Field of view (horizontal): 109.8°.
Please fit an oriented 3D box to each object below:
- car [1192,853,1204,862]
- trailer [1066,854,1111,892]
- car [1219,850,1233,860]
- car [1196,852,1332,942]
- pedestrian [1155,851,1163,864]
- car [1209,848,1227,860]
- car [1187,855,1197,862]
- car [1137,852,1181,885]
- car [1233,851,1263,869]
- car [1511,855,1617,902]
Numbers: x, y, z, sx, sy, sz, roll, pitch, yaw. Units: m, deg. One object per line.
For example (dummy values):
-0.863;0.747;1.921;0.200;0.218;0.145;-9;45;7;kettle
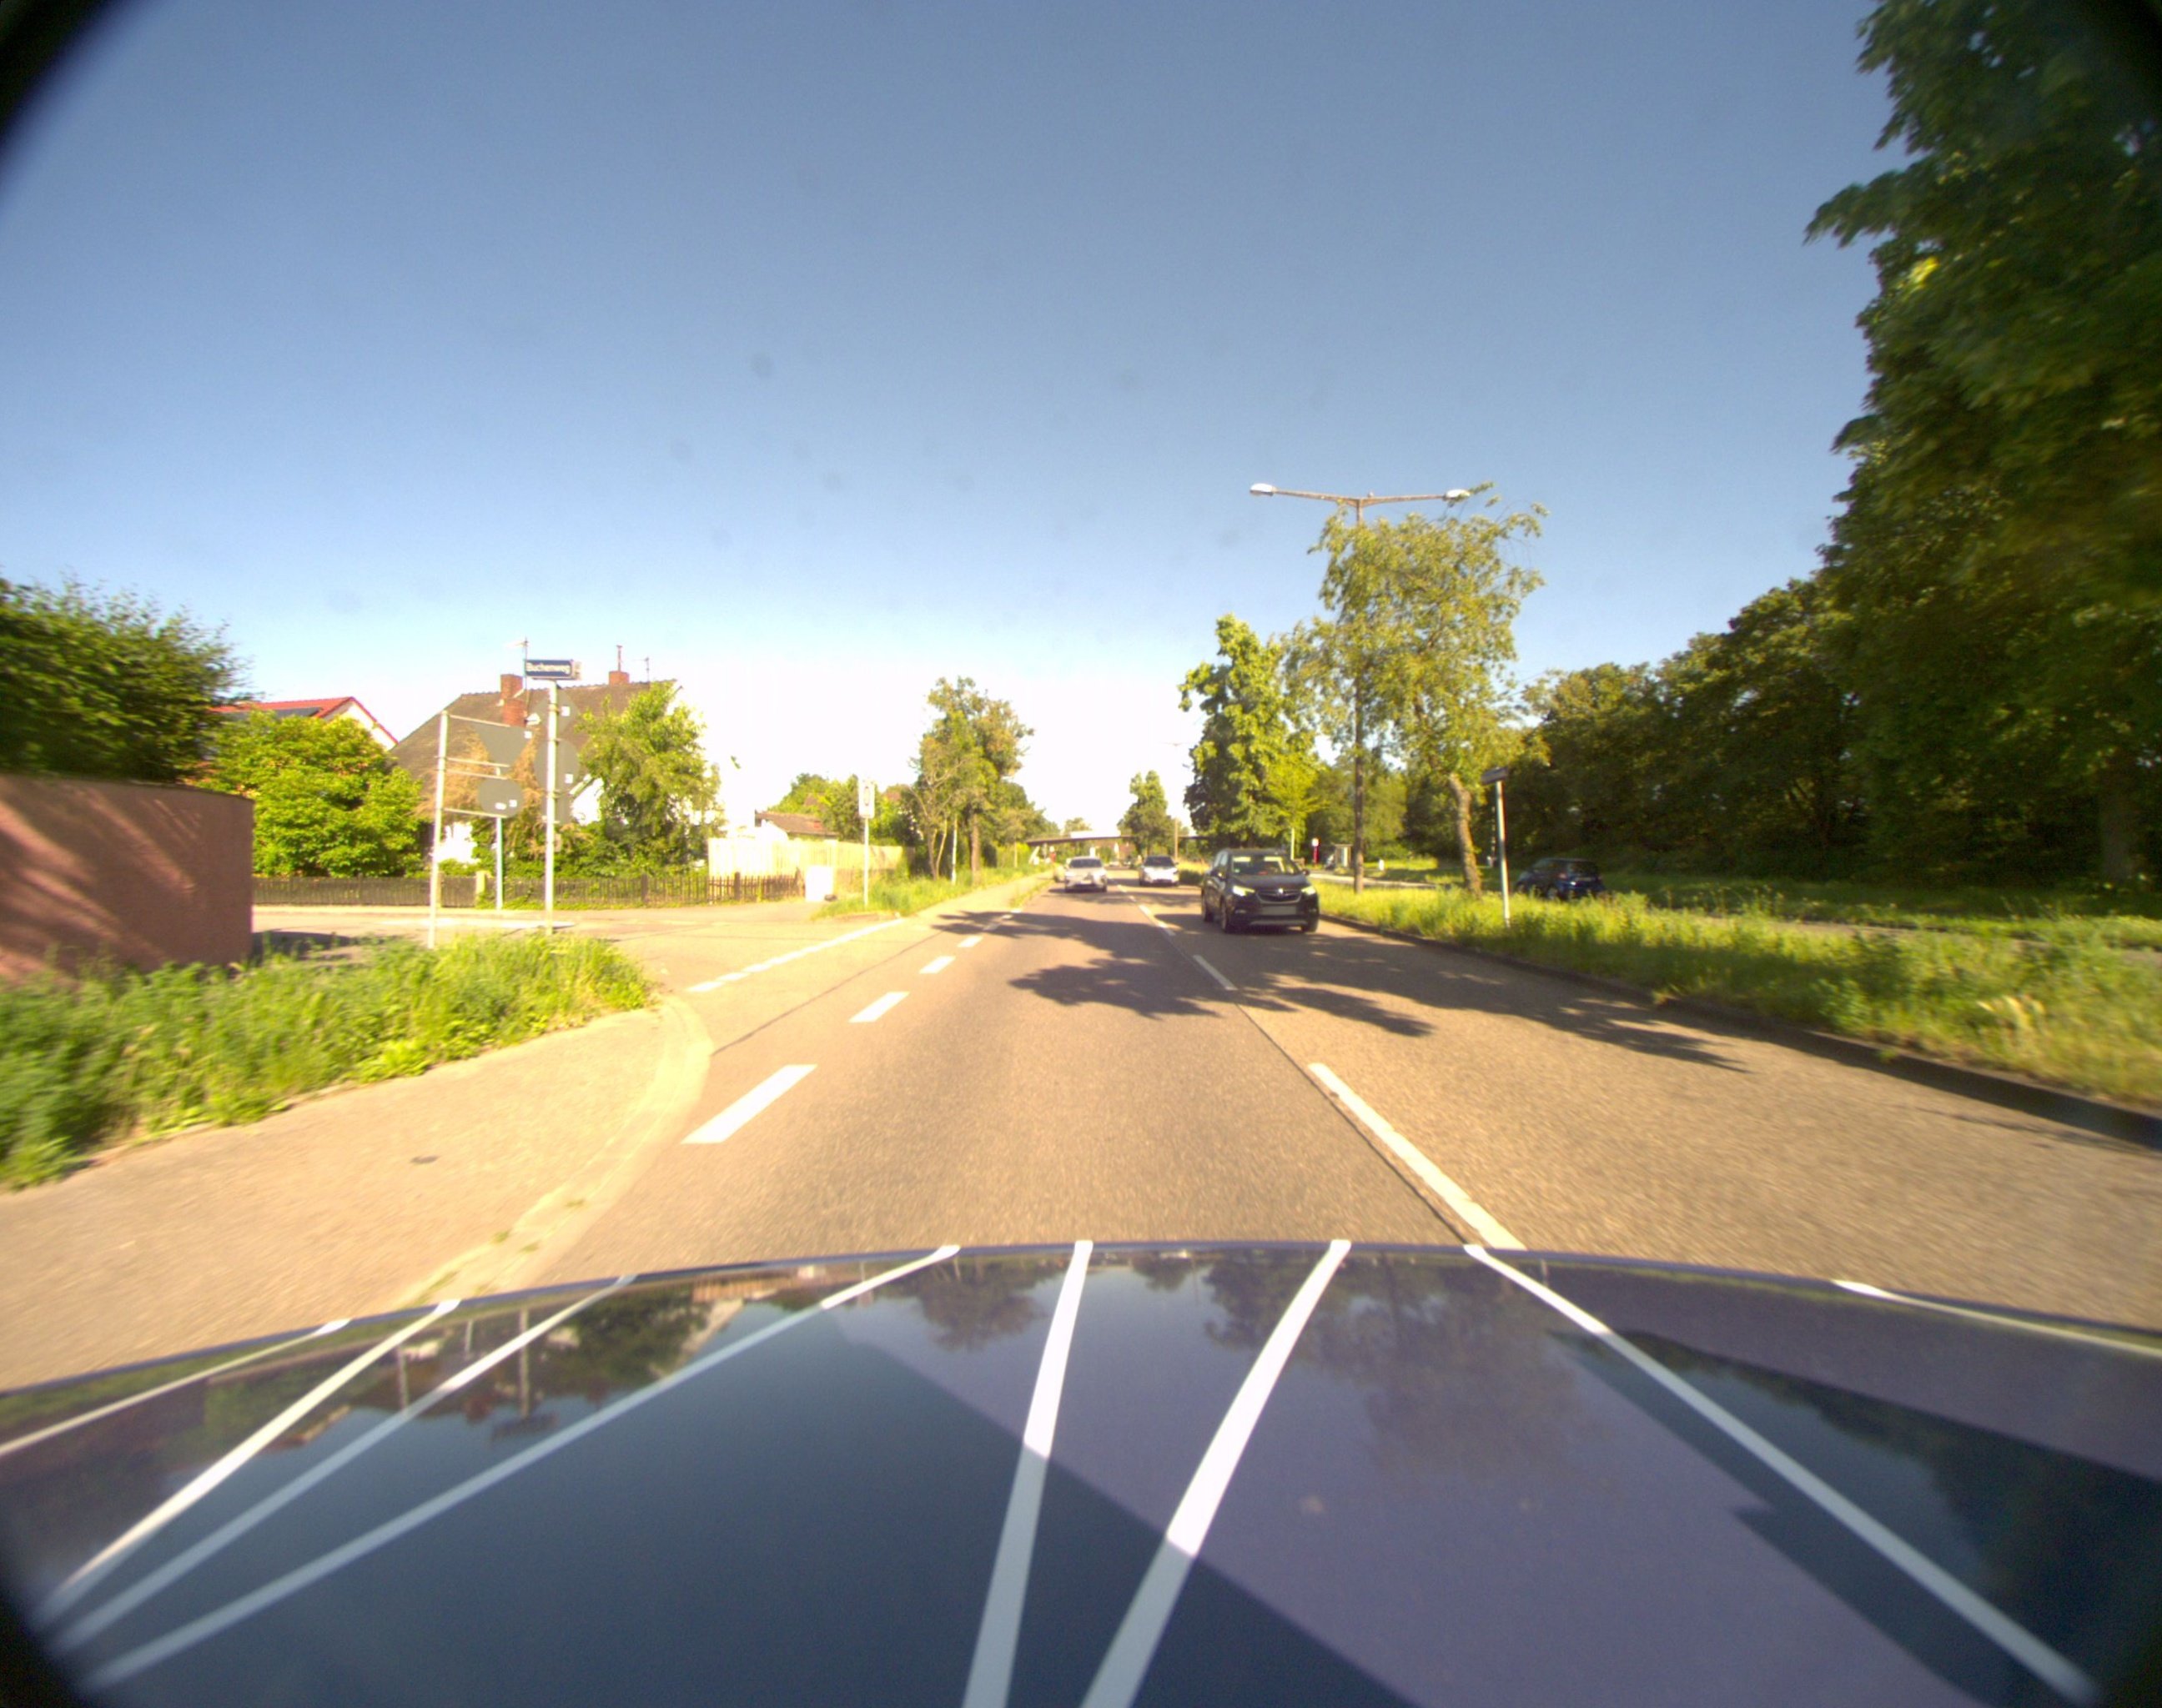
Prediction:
17.827;0.550;115.623;1.712;1.248;4.002;-1;0;7;car
0.321;0.825;34.638;1.897;1.586;4.000;-2;0;0;trailer
20.586;0.092;107.909;1.585;1.406;3.133;-1;0;5;car
3.625;0.770;15.918;1.811;1.605;4.514;-1;0;1;car
9.732;0.442;94.527;0.631;1.686;0.945;0;0;31;pedestrian
17.768;-0.017;98.949;1.717;1.463;4.064;1;0;2;car
20.162;0.823;138.043;1.712;1.248;4.002;-1;0;7;car
3.916;0.749;38.789;1.823;1.553;4.647;-1;-1;1;car
16.767;0.596;76.381;1.844;1.580;4.585;5;0;-1;car
16.626;0.811;26.320;1.719;1.496;3.016;-1;0;0;car
